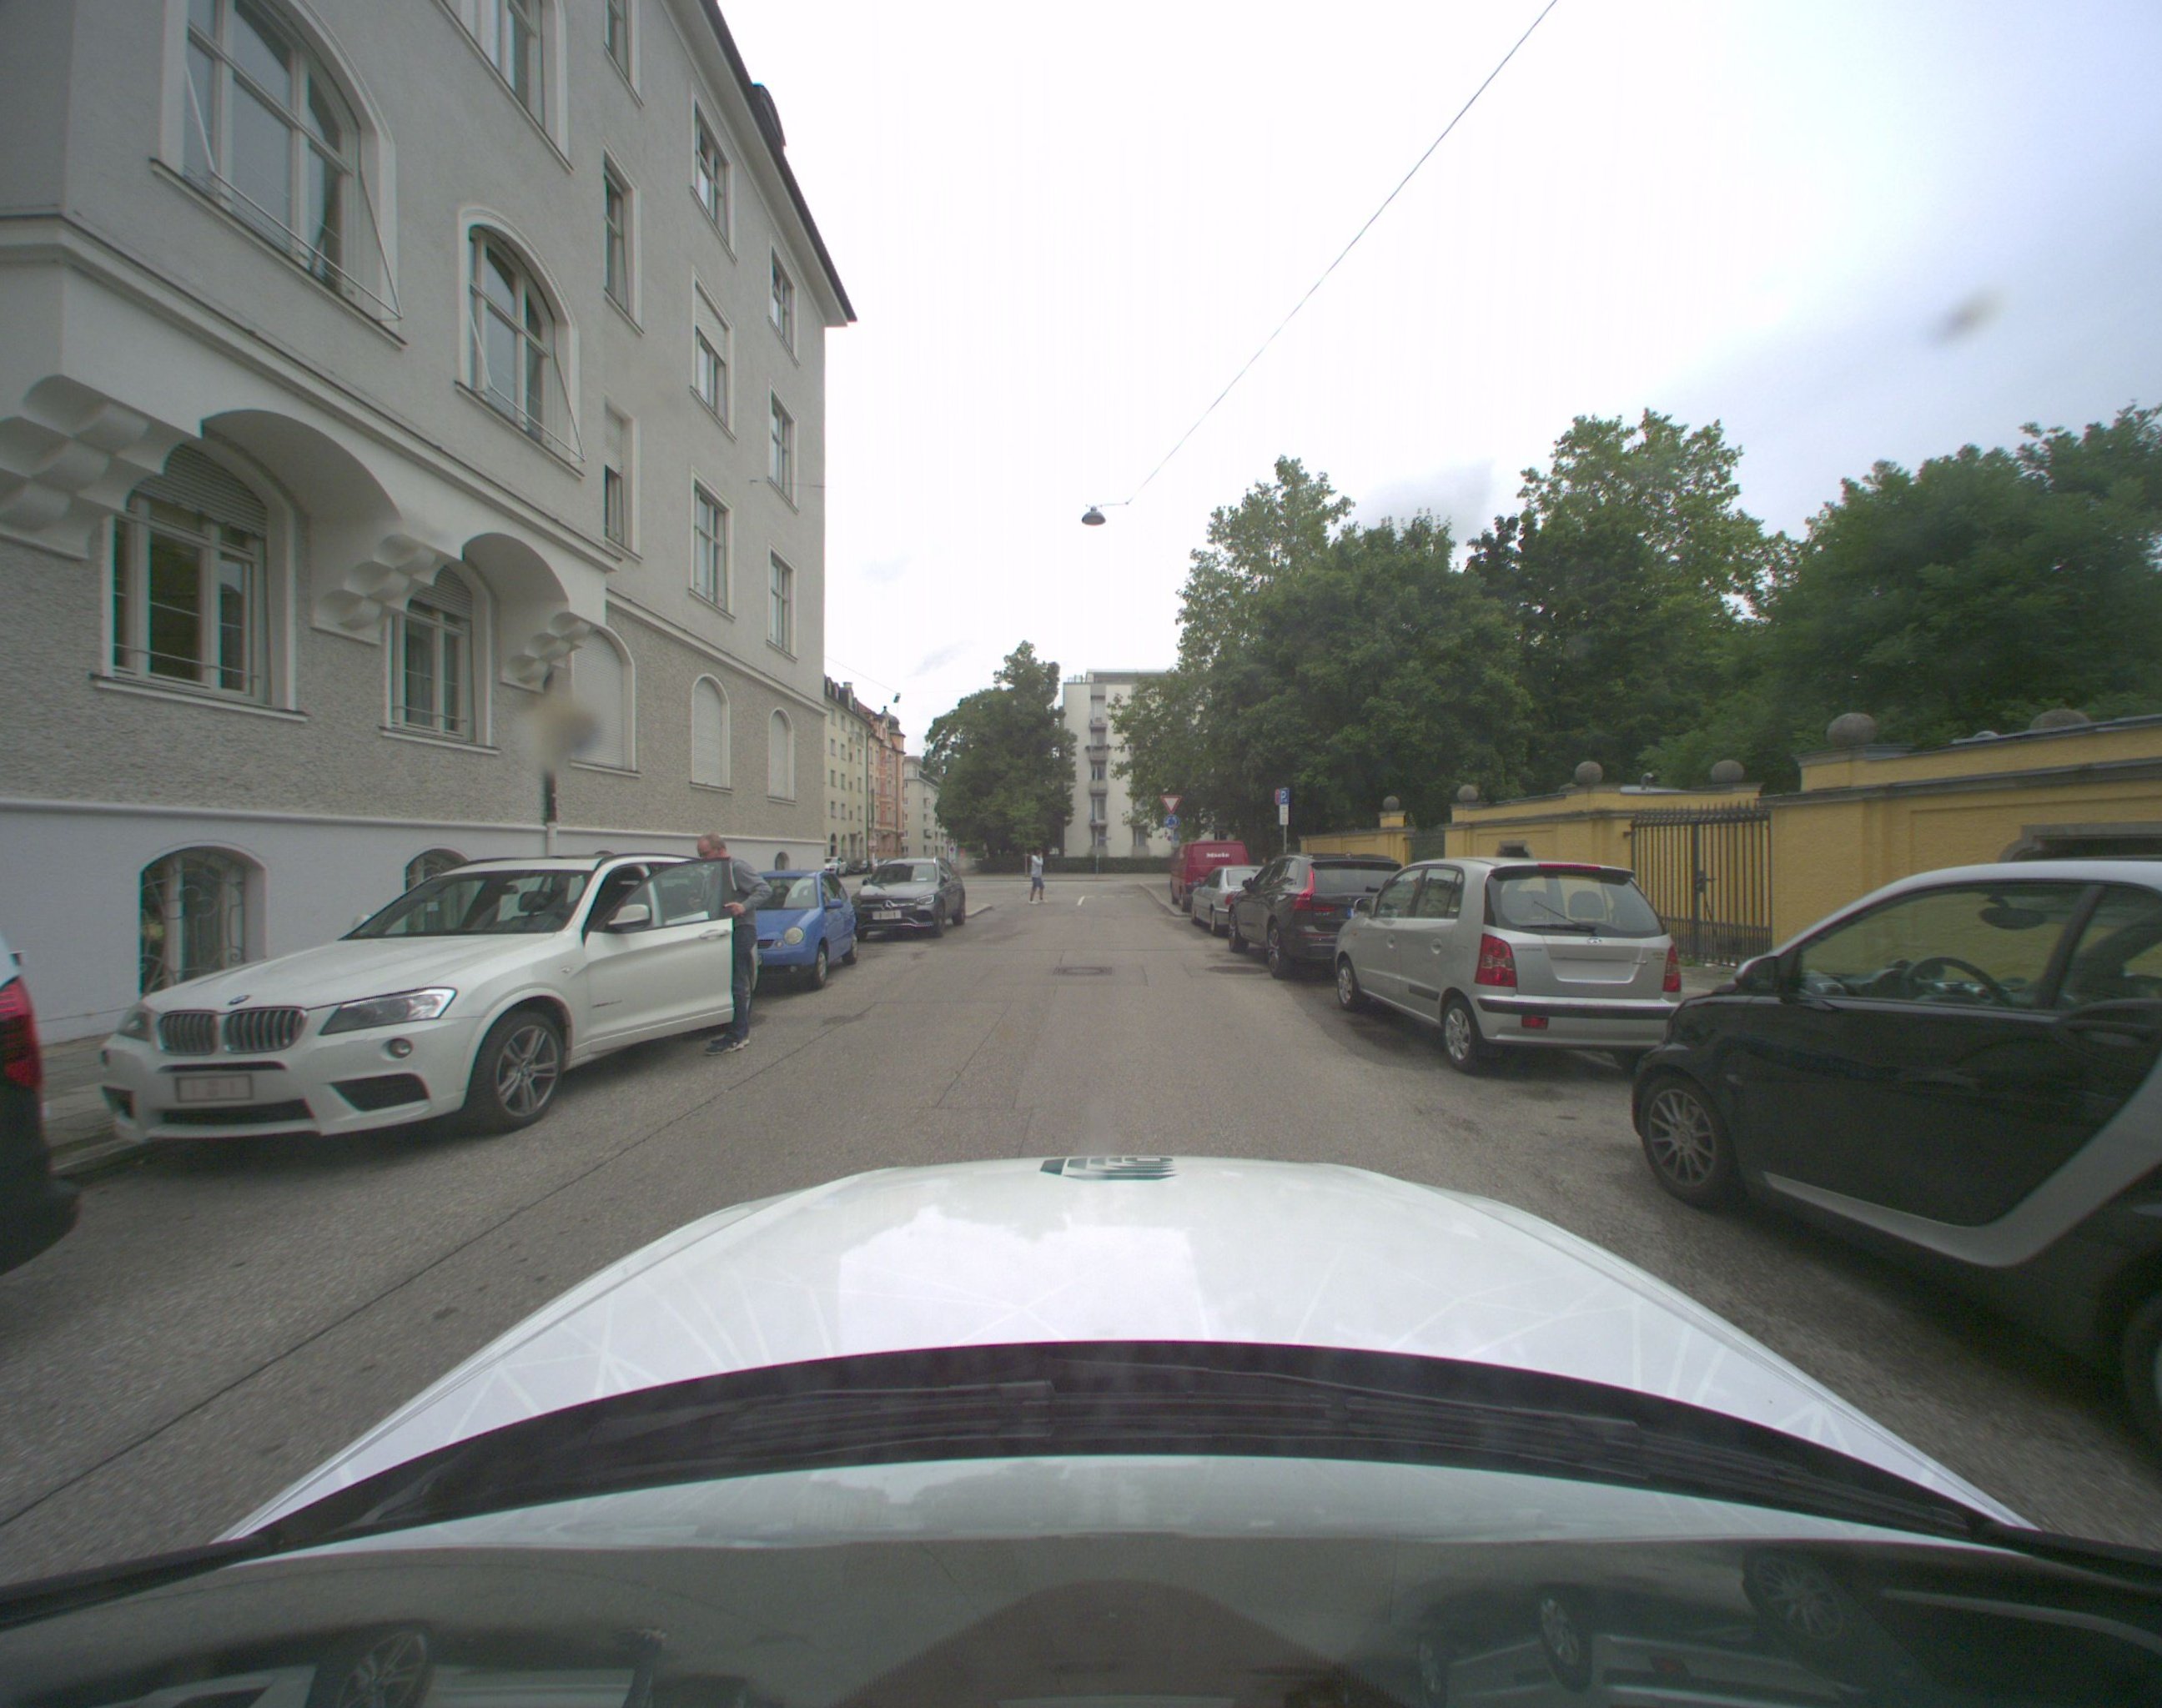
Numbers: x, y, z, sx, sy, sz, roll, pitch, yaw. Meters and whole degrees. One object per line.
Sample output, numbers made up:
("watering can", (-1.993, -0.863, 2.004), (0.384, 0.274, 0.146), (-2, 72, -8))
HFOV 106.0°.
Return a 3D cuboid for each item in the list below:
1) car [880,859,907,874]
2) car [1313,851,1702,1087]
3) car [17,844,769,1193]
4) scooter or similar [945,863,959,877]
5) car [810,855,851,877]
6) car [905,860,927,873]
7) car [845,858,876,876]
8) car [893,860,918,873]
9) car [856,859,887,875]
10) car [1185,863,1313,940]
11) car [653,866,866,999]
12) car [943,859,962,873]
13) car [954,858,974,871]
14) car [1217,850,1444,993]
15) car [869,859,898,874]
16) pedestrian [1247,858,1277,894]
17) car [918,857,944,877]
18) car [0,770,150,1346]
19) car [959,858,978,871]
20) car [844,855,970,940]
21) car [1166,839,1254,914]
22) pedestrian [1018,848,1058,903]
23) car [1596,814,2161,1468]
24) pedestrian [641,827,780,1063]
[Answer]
("car", (-21.026, 1.398, 91.562), (1.969, 1.581, 4.407), (1, 0, 0))
("car", (3.387, 0.781, 7.290), (1.480, 1.539, 3.691), (2, 0, -1))
("car", (-4.112, 0.791, 6.091), (1.741, 1.602, 4.496), (-1, 0, 1))
("scooter or similar", (-10.038, 1.225, 63.483), (1.005, 1.088, 0.387), (1, -1, -30))
("car", (-20.251, 0.977, 65.976), (1.971, 1.701, 4.836), (1, 0, -3))
("car", (-21.232, 1.578, 105.063), (1.969, 1.581, 4.407), (1, 0, 0))
("car", (-20.681, 1.171, 76.523), (1.972, 1.616, 4.704), (1, 0, -5))
("car", (-21.182, 1.490, 98.477), (1.969, 1.581, 4.407), (1, 0, 0))
("car", (-20.874, 1.255, 81.399), (1.969, 1.581, 4.406), (1, 0, -1))
("car", (3.602, 0.961, 18.269), (1.879, 1.448, 4.366), (2, 0, -1))
("car", (-4.073, 0.901, 10.937), (1.689, 1.414, 3.655), (-1, 0, -6))
("car", (-14.642, 1.393, 92.724), (1.832, 1.505, 4.108), (-1, 0, -5))
("car", (-14.775, 1.320, 103.001), (1.829, 1.634, 3.820), (-1, 0, 1))
("car", (3.398, 0.822, 12.174), (1.878, 1.653, 4.822), (2, 0, 0))
("car", (-20.977, 1.328, 86.563), (1.969, 1.581, 4.406), (1, 0, 0))
("pedestrian", (6.896, 0.822, 30.997), (1.005, 1.338, 0.878), (0, -1, 5))
("car", (-12.147, 1.050, 66.133), (1.817, 1.505, 4.411), (-1, 0, -7))
("car", (-4.296, 0.634, 0.422), (1.740, 1.788, 5.038), (-1, 0, 1))
("car", (-14.737, 1.388, 107.045), (1.829, 1.634, 3.820), (-1, 0, 1))
("car", (-3.683, 0.864, 18.067), (1.741, 1.602, 4.496), (-1, 0, 1))
("car", (3.668, 0.611, 24.007), (1.867, 1.921, 4.888), (1, 0, 1))
("pedestrian", (-1.432, 0.692, 26.846), (1.054, 1.771, 0.869), (0, -1, -27))
("car", (3.409, 0.719, 2.832), (1.502, 1.566, 2.871), (2, 0, 3))
("pedestrian", (-3.043, 0.679, 6.666), (0.967, 1.756, 0.868), (1, -1, -29))
